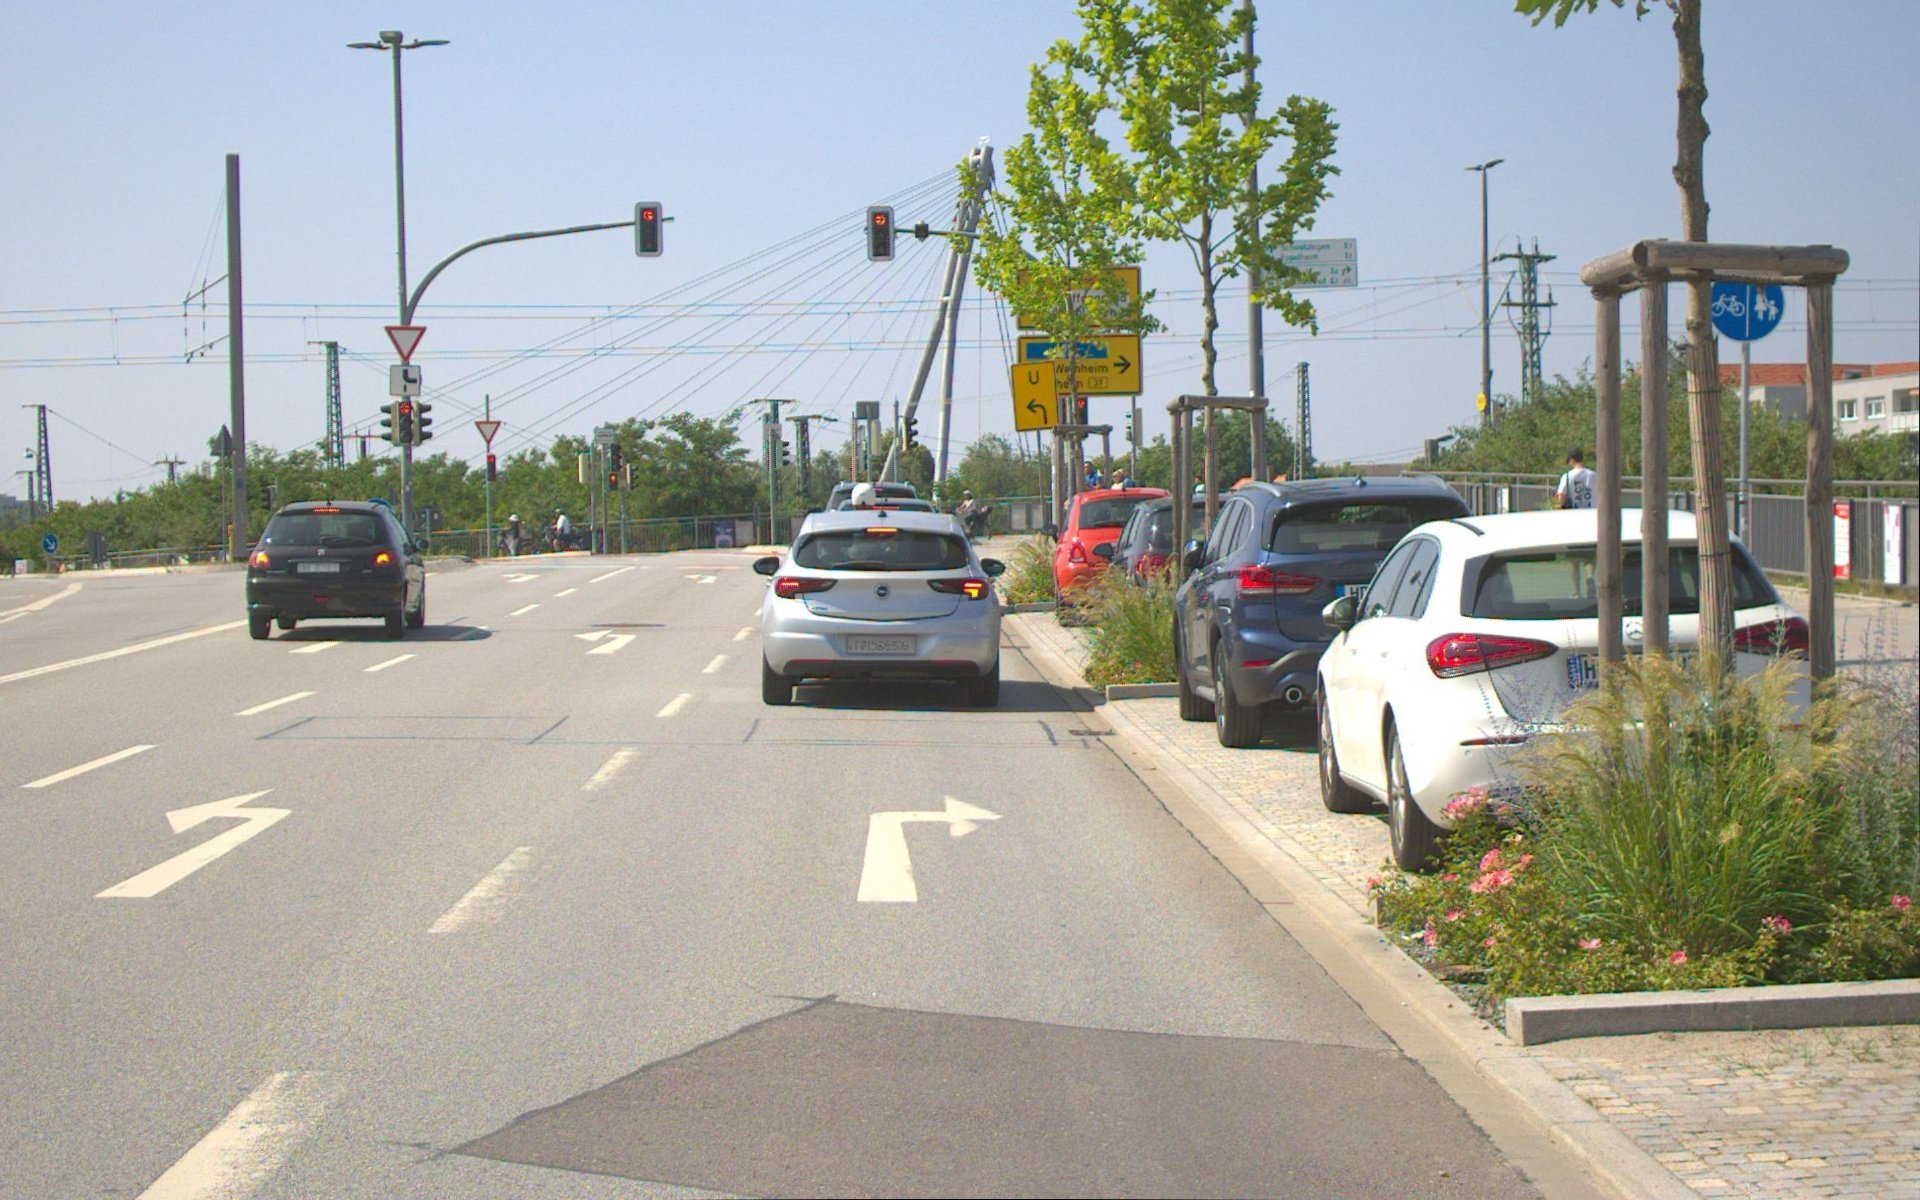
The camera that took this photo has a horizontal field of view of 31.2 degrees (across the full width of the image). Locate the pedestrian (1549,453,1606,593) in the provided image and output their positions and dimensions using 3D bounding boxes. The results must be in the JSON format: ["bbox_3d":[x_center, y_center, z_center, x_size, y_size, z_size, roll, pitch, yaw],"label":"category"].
[{"bbox_3d":[7.019,-0.868,39.070,0.533,1.570,0.524,1,0,-1],"label":"pedestrian"}]

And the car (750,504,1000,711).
[{"bbox_3d":[-0.656,0.000,26.856,1.778,1.437,4.001,1,2,-1],"label":"car"}]

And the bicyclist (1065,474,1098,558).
[{"bbox_3d":[2.404,-1.665,68.042,0.592,1.638,0.313,1,0,-7],"label":"bicyclist"}]

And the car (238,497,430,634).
[{"bbox_3d":[-6.725,-0.398,37.219,1.619,1.411,3.728,0,1,-4],"label":"car"}]

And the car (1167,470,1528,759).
[{"bbox_3d":[2.362,0.030,21.795,1.822,1.611,3.611,-2,2,0],"label":"car"}]

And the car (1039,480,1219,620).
[{"bbox_3d":[1.908,-0.595,39.861,1.778,1.498,4.000,-2,1,-1],"label":"car"}]

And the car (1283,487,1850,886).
[{"bbox_3d":[2.525,0.284,15.290,1.696,1.470,4.206,-2,1,0],"label":"car"}]

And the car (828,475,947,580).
[{"bbox_3d":[-1.136,-1.162,54.020,1.778,1.563,4.001,-1,2,-1],"label":"car"}]

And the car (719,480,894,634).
[{"bbox_3d":[-1.613,-0.511,37.293,1.778,1.563,4.001,-1,2,-1],"label":"car"}]

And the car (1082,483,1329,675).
[{"bbox_3d":[2.173,-0.229,31.409,1.778,1.498,4.000,-5,1,-1],"label":"car"}]
